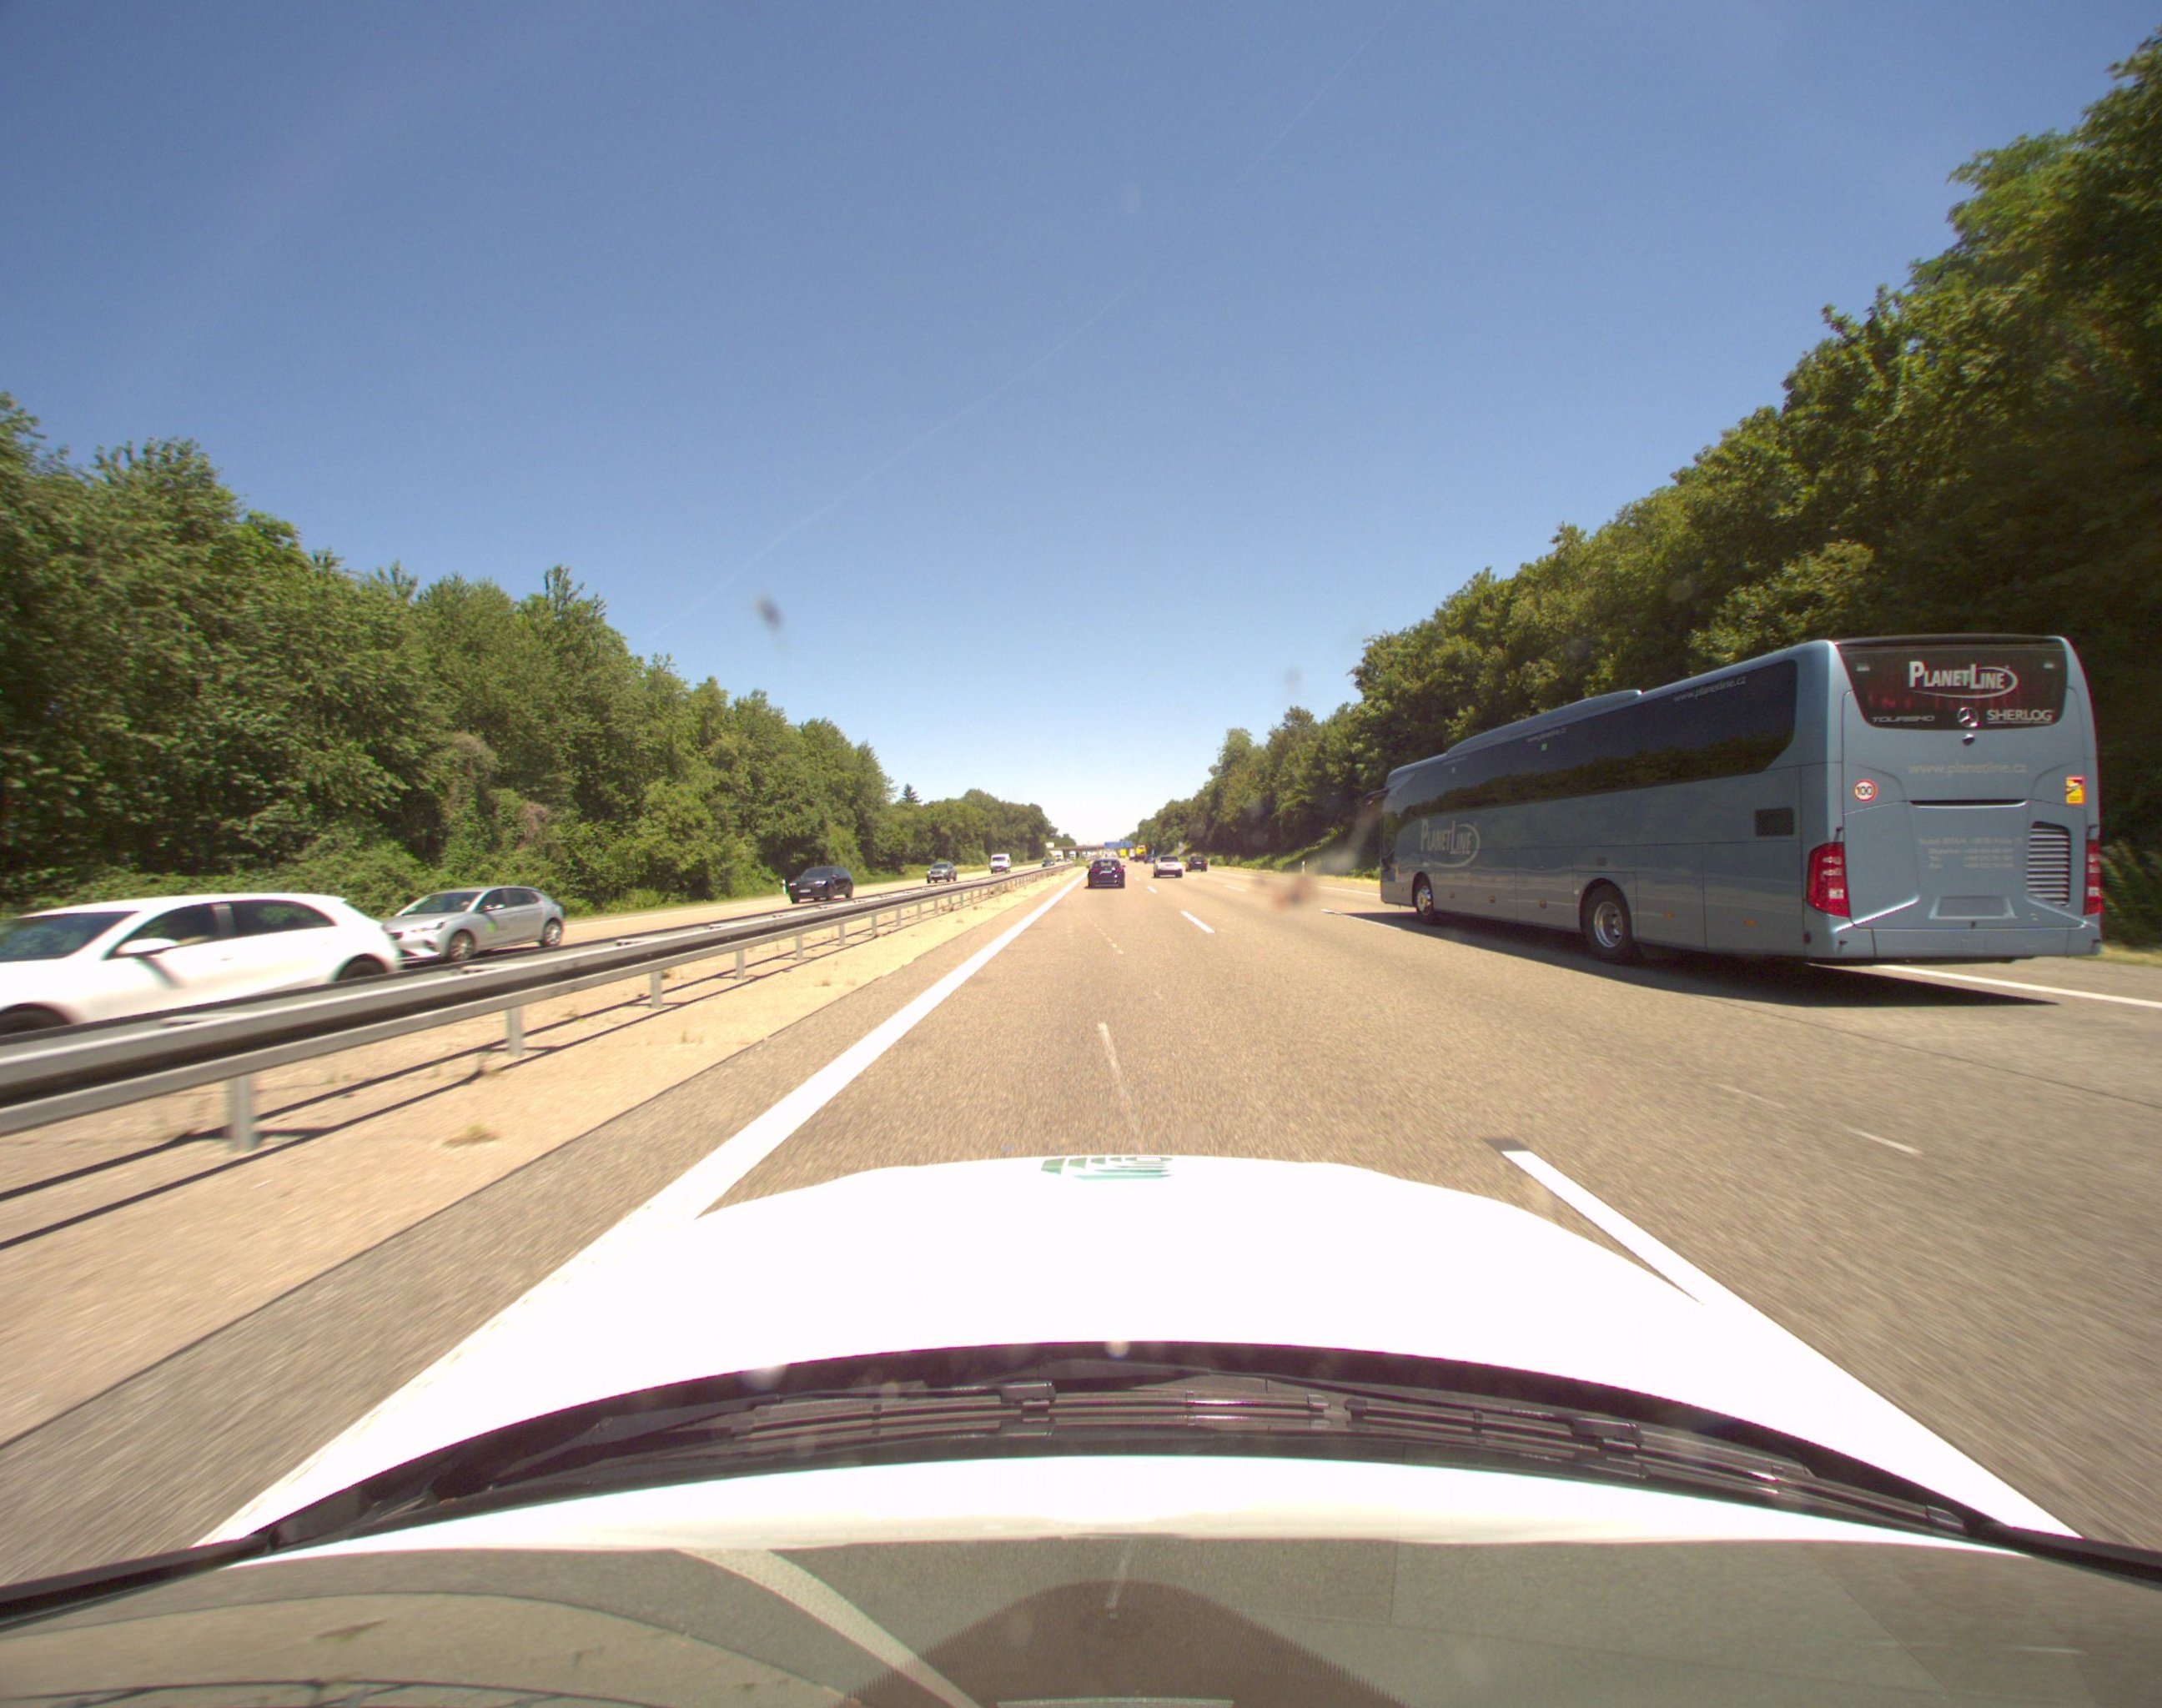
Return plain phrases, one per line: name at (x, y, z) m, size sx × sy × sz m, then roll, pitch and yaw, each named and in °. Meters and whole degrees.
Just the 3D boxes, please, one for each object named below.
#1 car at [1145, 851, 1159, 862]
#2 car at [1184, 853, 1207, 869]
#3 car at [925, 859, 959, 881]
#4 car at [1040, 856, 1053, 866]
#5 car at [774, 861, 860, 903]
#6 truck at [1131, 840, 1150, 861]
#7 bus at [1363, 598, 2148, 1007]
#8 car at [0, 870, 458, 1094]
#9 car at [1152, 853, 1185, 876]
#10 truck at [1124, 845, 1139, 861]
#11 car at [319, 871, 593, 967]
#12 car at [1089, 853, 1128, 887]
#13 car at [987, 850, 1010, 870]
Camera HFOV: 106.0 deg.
car at (12.455, 0.463, 143.516) m, size 2.069 × 1.751 × 4.242 m, roll -2°, pitch 0°, yaw 1°
car at (10.451, 0.626, 74.540) m, size 1.782 × 1.461 × 3.952 m, roll -1°, pitch 0°, yaw 3°
car at (-11.222, 1.263, 66.021) m, size 1.814 × 1.630 × 4.798 m, roll -2°, pitch 0°, yaw 1°
car at (-5.534, 1.110, 130.386) m, size 1.799 × 1.480 × 4.568 m, roll -2°, pitch 0°, yaw 1°
car at (-12.403, 1.267, 38.643) m, size 2.266 × 1.651 × 4.929 m, roll -4°, pitch 0°, yaw 1°
truck at (13.828, -0.728, 190.929) m, size 3.635 × 4.590 × 15.767 m, roll 0°, pitch 0°, yaw 1°
bus at (8.154, -0.449, 13.482) m, size 2.792 × 3.596 × 12.475 m, roll -1°, pitch 0°, yaw 1°
car at (-8.671, 1.004, 7.648) m, size 1.814 × 1.523 × 4.824 m, roll -2°, pitch 0°, yaw 1°
car at (6.034, 0.684, 56.467) m, size 1.893 × 1.532 × 4.242 m, roll -1°, pitch 0°, yaw 1°
truck at (15.170, -0.272, 245.509) m, size 3.635 × 4.590 × 17.248 m, roll 0°, pitch 0°, yaw 1°
car at (-12.454, 1.187, 16.749) m, size 1.814 × 1.523 × 4.824 m, roll -2°, pitch 0°, yaw 1°
car at (1.307, 0.741, 39.939) m, size 1.793 × 1.502 × 4.242 m, roll -1°, pitch 0°, yaw 1°
car at (-10.131, 0.686, 100.545) m, size 2.080 × 2.288 × 5.277 m, roll -2°, pitch 0°, yaw 1°
